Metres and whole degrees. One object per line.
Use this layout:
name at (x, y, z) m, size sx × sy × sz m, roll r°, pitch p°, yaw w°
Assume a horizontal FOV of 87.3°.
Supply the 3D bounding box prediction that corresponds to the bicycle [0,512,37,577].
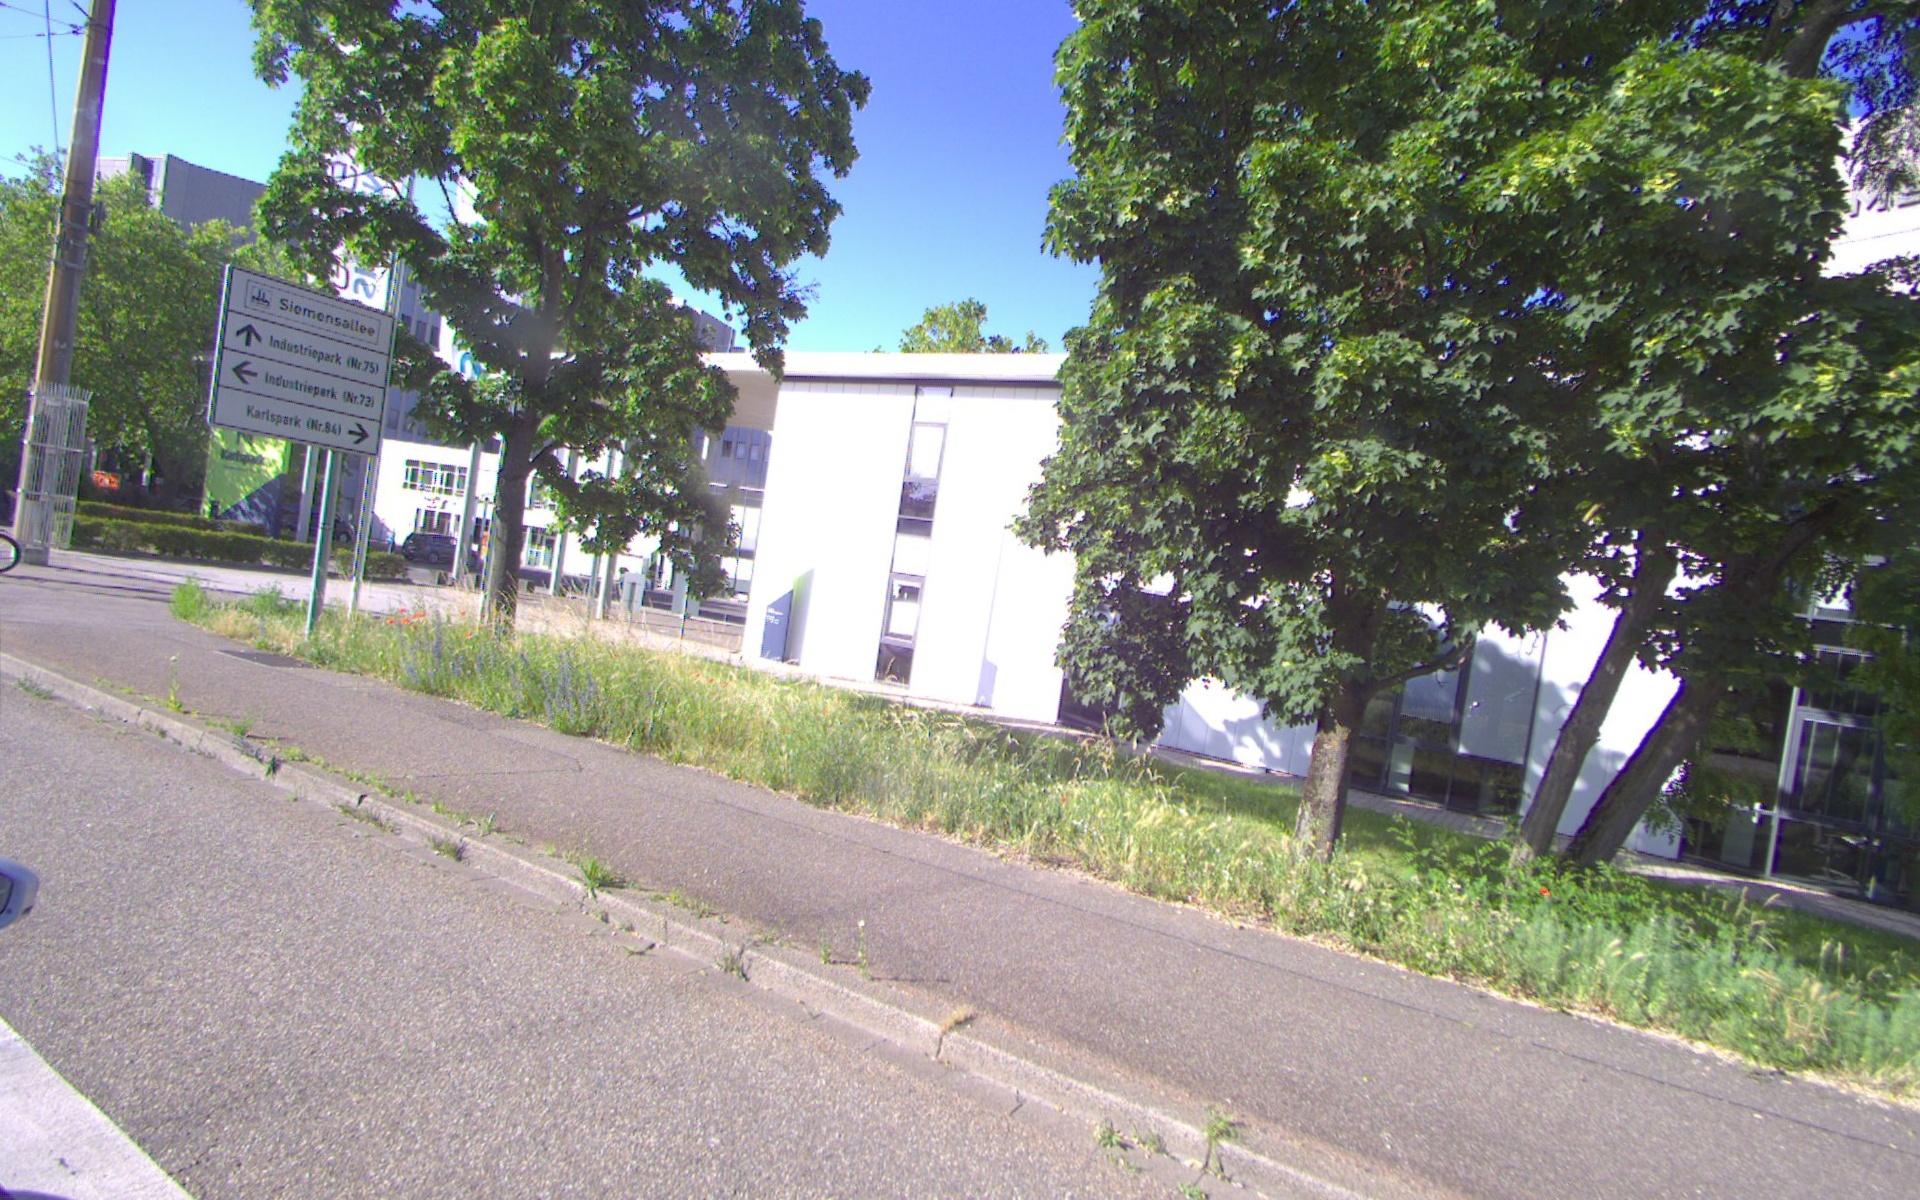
bicycle at (-16.234, -0.978, 16.214) m, size 0.754 × 1.010 × 1.916 m, roll 7°, pitch 1°, yaw 42°

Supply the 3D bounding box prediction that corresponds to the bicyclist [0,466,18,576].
bicyclist at (-16.051, -1.333, 16.362) m, size 0.754 × 1.767 × 0.908 m, roll 7°, pitch 1°, yaw 42°

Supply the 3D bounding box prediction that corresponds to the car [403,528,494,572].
car at (-27.767, -2.693, 54.736) m, size 1.865 × 1.741 × 4.001 m, roll 8°, pitch -1°, yaw 22°

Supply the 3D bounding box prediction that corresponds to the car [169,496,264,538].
car at (-44.273, -4.930, 59.968) m, size 1.963 × 1.778 × 4.002 m, roll 8°, pitch -1°, yaw 19°
